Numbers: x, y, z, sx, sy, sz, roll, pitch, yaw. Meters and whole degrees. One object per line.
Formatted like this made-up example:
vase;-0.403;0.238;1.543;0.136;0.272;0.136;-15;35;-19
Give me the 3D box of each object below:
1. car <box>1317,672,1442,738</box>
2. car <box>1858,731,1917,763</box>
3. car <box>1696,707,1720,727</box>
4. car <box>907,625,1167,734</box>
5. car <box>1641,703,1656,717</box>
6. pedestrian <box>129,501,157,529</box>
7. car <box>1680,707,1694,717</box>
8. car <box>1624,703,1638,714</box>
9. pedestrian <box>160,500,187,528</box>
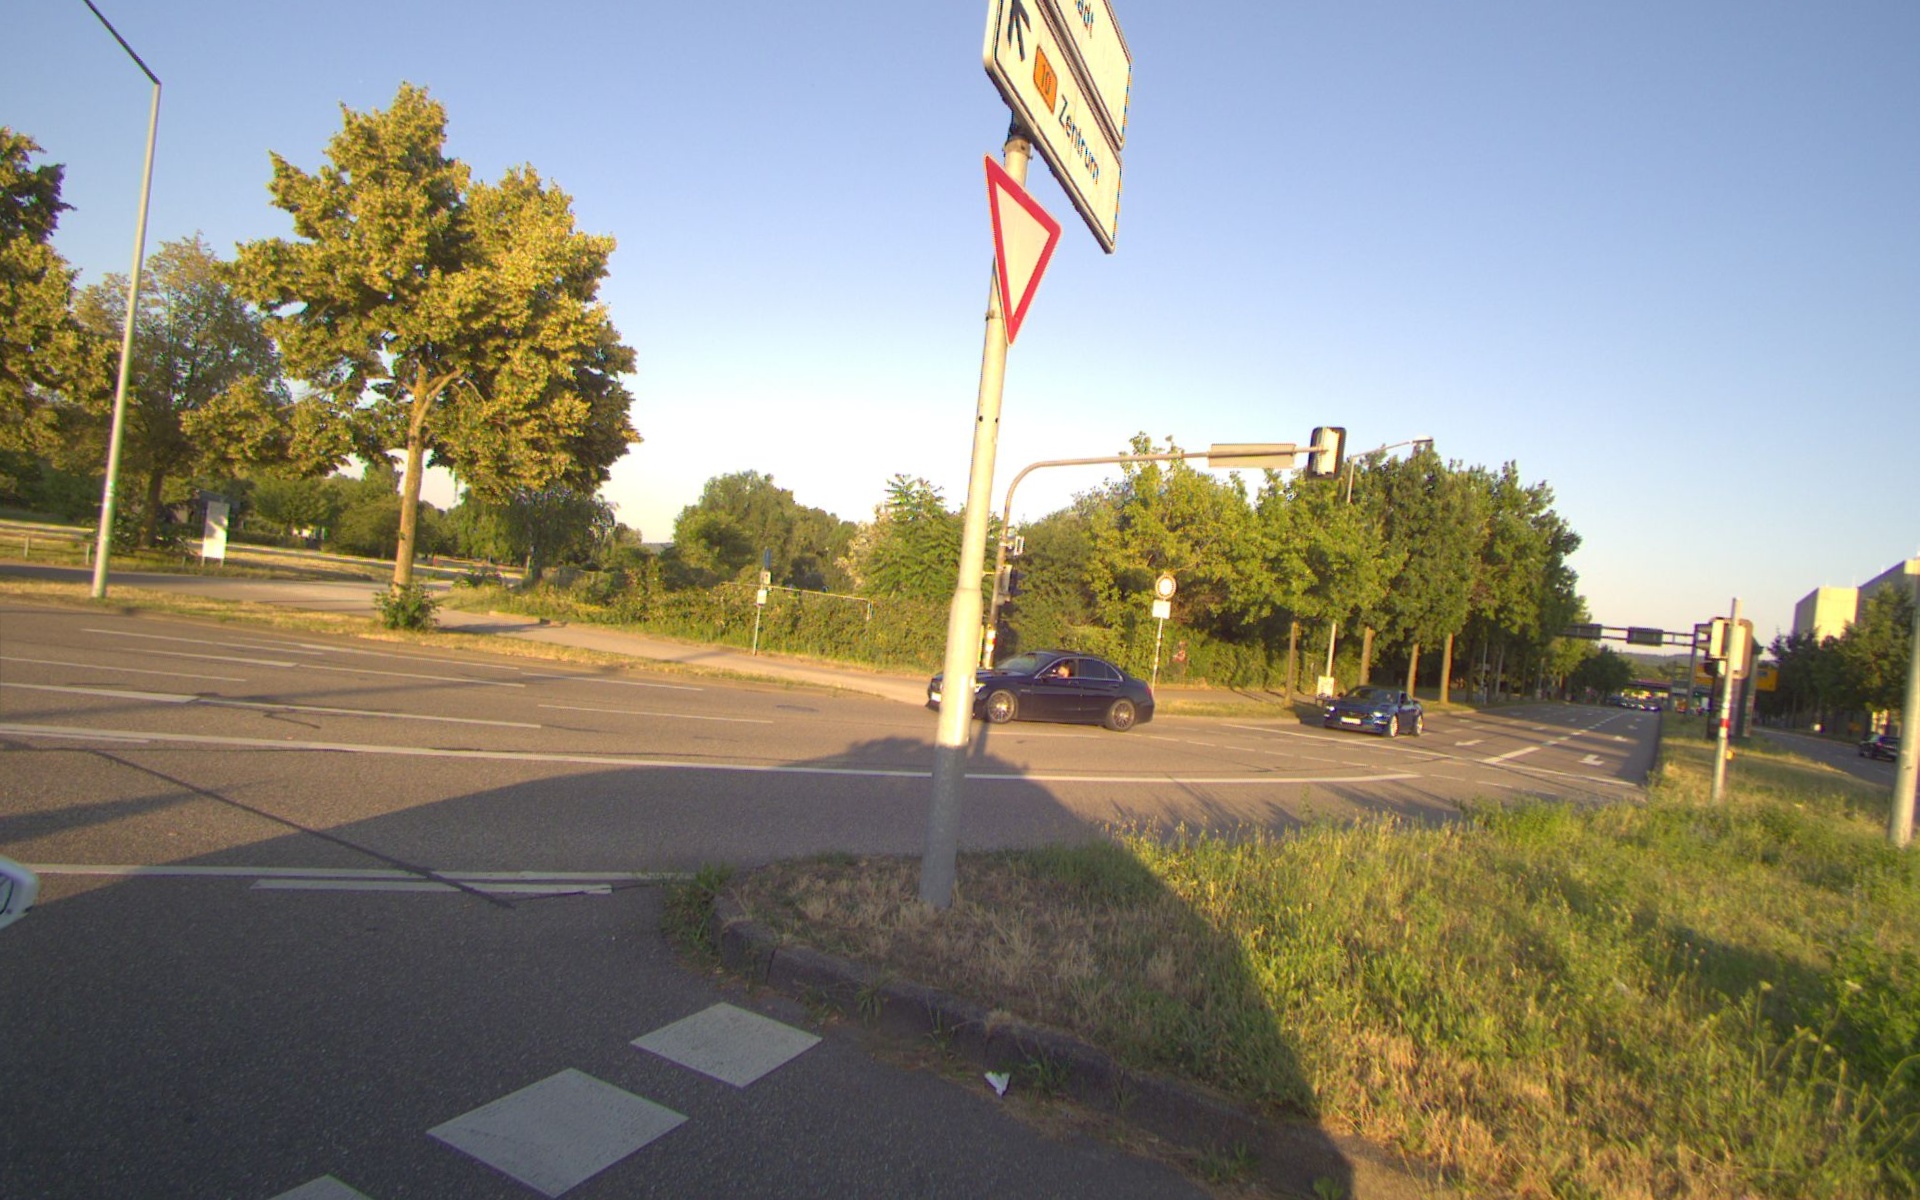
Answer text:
car;12.223;3.052;29.152;1.971;1.523;4.753;7;-1;39
car;52.196;8.253;56.688;1.724;1.395;4.116;7;-1;35
car;85.970;13.459;115.666;1.970;2.038;3.986;7;-1;38
car;1.527;1.538;19.286;4.574;1.522;1.985;9;-3;-31
car;120.447;19.218;175.968;1.969;2.037;3.991;6;-2;35
pedestrian;-52.955;-5.522;65.227;0.896;1.637;1.070;7;0;35
car;149.217;23.011;206.582;1.968;1.648;3.991;6;-1;34
car;124.423;20.163;186.521;1.967;1.801;3.994;6;-2;33
pedestrian;-51.496;-5.597;65.869;0.896;1.637;1.070;7;0;35
